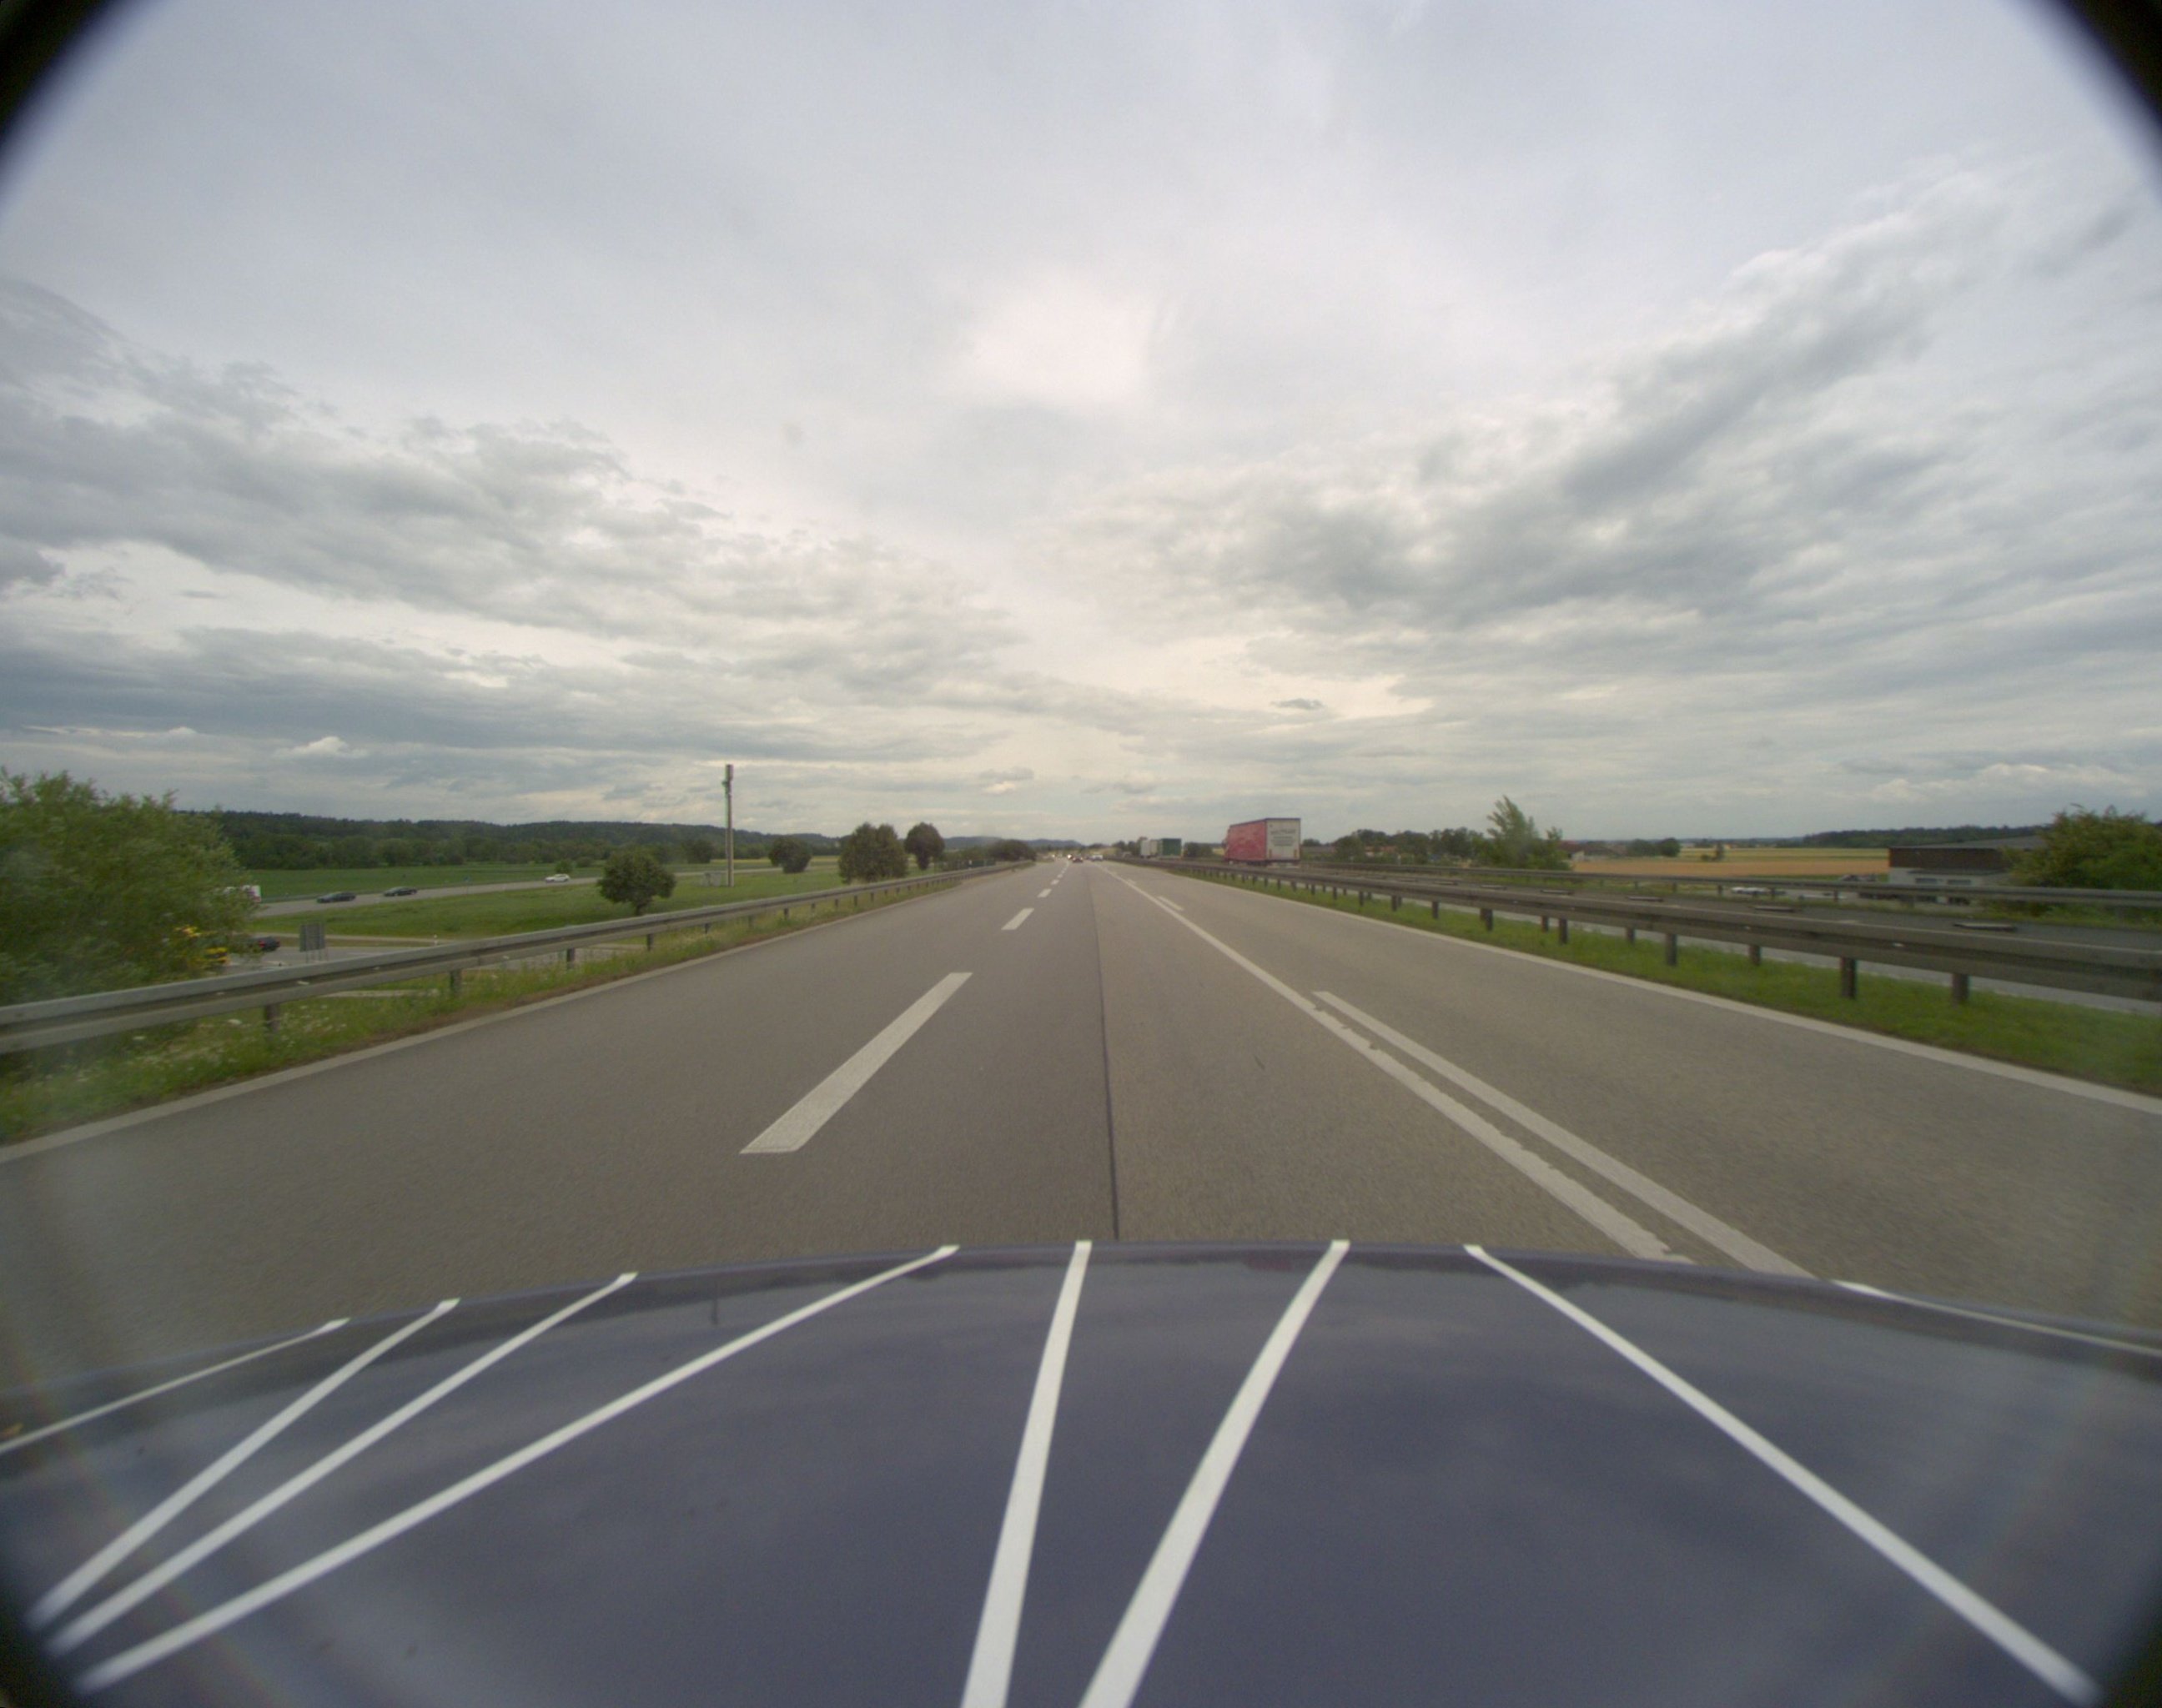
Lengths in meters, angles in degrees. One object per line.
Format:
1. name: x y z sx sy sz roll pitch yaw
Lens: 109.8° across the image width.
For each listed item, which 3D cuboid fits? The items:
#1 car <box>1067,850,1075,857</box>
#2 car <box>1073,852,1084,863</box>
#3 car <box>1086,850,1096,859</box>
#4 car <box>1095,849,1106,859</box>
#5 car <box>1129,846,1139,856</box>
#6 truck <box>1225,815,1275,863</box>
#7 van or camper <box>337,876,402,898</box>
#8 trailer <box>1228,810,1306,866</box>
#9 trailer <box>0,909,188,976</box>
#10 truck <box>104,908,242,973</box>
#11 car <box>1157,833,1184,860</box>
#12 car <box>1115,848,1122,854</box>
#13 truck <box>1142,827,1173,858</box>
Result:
1. car: -2.551 -0.114 194.521 1.850 1.655 4.000 0 0 1
2. car: -0.406 0.621 128.024 1.850 1.850 4.000 0 0 0
3. car: 2.244 0.052 175.538 1.998 2.002 4.001 -2 1 5
4. car: 3.530 0.007 136.513 1.850 1.665 4.200 0 0 3
5. car: 10.742 -0.582 153.764 1.850 1.850 4.000 0 0 0
6. truck: 14.860 -1.291 67.357 2.917 3.924 6.324 -2 1 0
7. van or camper: -115.157 5.263 123.078 2.798 2.891 7.132 -5 0 14
8. trailer: 14.803 -1.213 61.817 2.916 3.918 13.975 -2 1 0
9. trailer: -79.872 7.040 60.932 12.303 4.760 3.019 -1 0 -2
10. truck: -73.009 6.928 61.235 7.137 4.760 3.019 -1 0 -2
11. car: 11.260 -0.977 96.082 2.545 3.253 7.209 -2 1 0
12. car: 11.906 -0.918 240.844 1.850 1.850 4.000 0 0 0
13. truck: 14.290 -2.183 144.208 4.333 5.528 14.037 -2 1 0
